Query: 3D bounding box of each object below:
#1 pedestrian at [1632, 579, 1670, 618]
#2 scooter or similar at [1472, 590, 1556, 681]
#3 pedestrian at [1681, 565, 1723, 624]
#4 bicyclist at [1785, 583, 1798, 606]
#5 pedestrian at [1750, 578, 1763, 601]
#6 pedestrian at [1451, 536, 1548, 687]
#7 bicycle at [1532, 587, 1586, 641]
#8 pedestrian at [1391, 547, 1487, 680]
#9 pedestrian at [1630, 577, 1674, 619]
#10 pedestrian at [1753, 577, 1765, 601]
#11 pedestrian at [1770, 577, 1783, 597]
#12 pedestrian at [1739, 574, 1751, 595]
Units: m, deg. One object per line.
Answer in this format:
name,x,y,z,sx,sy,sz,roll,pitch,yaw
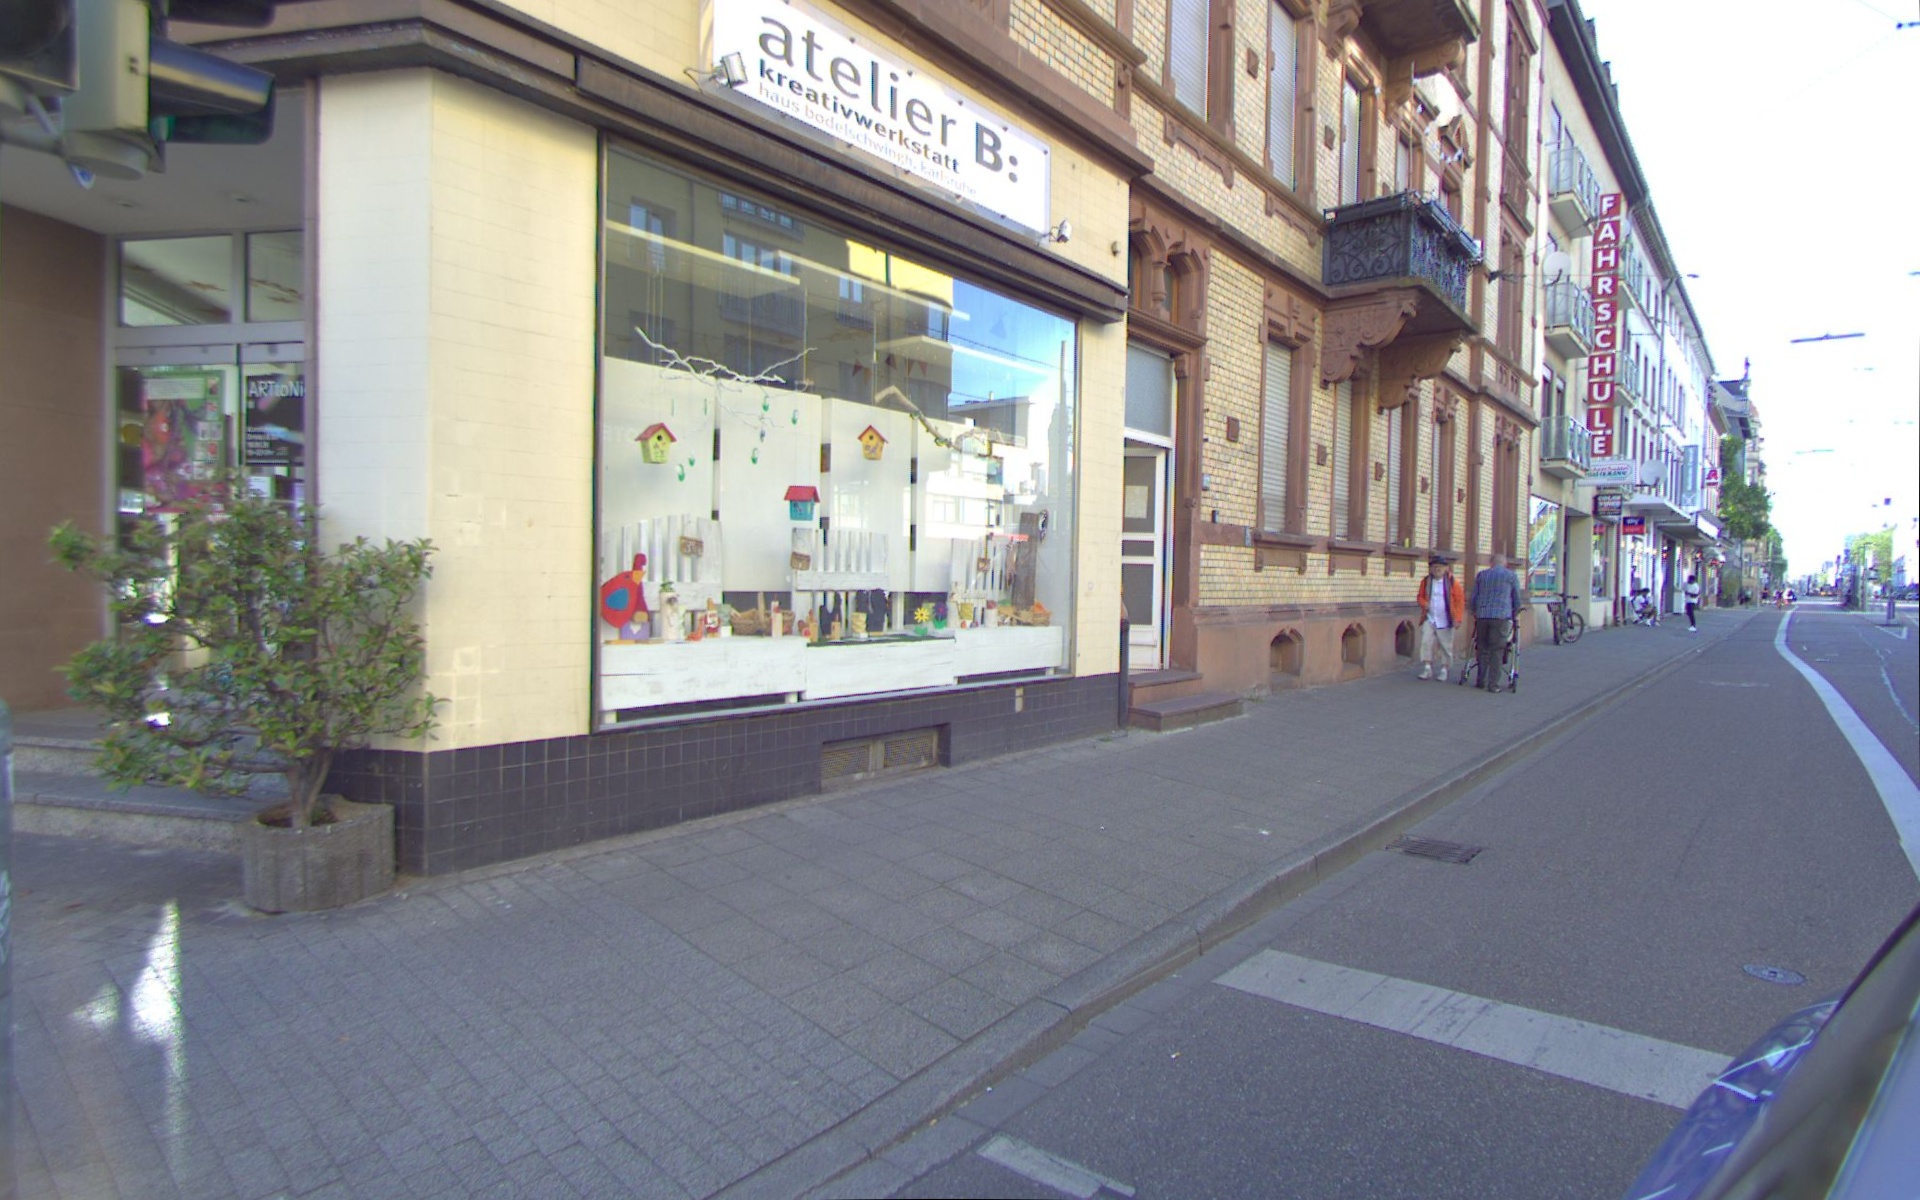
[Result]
pedestrian,23.349,-0.069,34.204,0.699,1.188,1.009,7,5,21
scooter or similar,7.383,0.454,13.500,0.805,1.082,0.514,8,5,41
pedestrian,24.432,-0.171,33.322,0.666,1.833,0.708,3,5,-34
bicyclist,59.662,-0.410,72.612,0.674,1.634,0.826,1,1,39
pedestrian,61.064,-0.811,77.603,0.647,1.737,0.796,2,1,34
pedestrian,6.958,0.124,13.055,0.805,1.821,0.750,7,4,41
bicycle,13.019,0.284,21.974,0.555,1.073,2.277,5,4,41
pedestrian,6.402,0.166,13.520,0.798,1.646,0.813,9,5,41
pedestrian,22.765,-0.069,33.312,0.816,1.270,0.706,6,5,6
pedestrian,61.285,-0.847,77.614,0.685,1.793,0.649,0,2,-44
pedestrian,73.491,-1.179,91.079,0.805,1.822,0.750,2,2,41
pedestrian,60.526,-1.164,78.001,0.647,1.598,0.674,2,1,34
